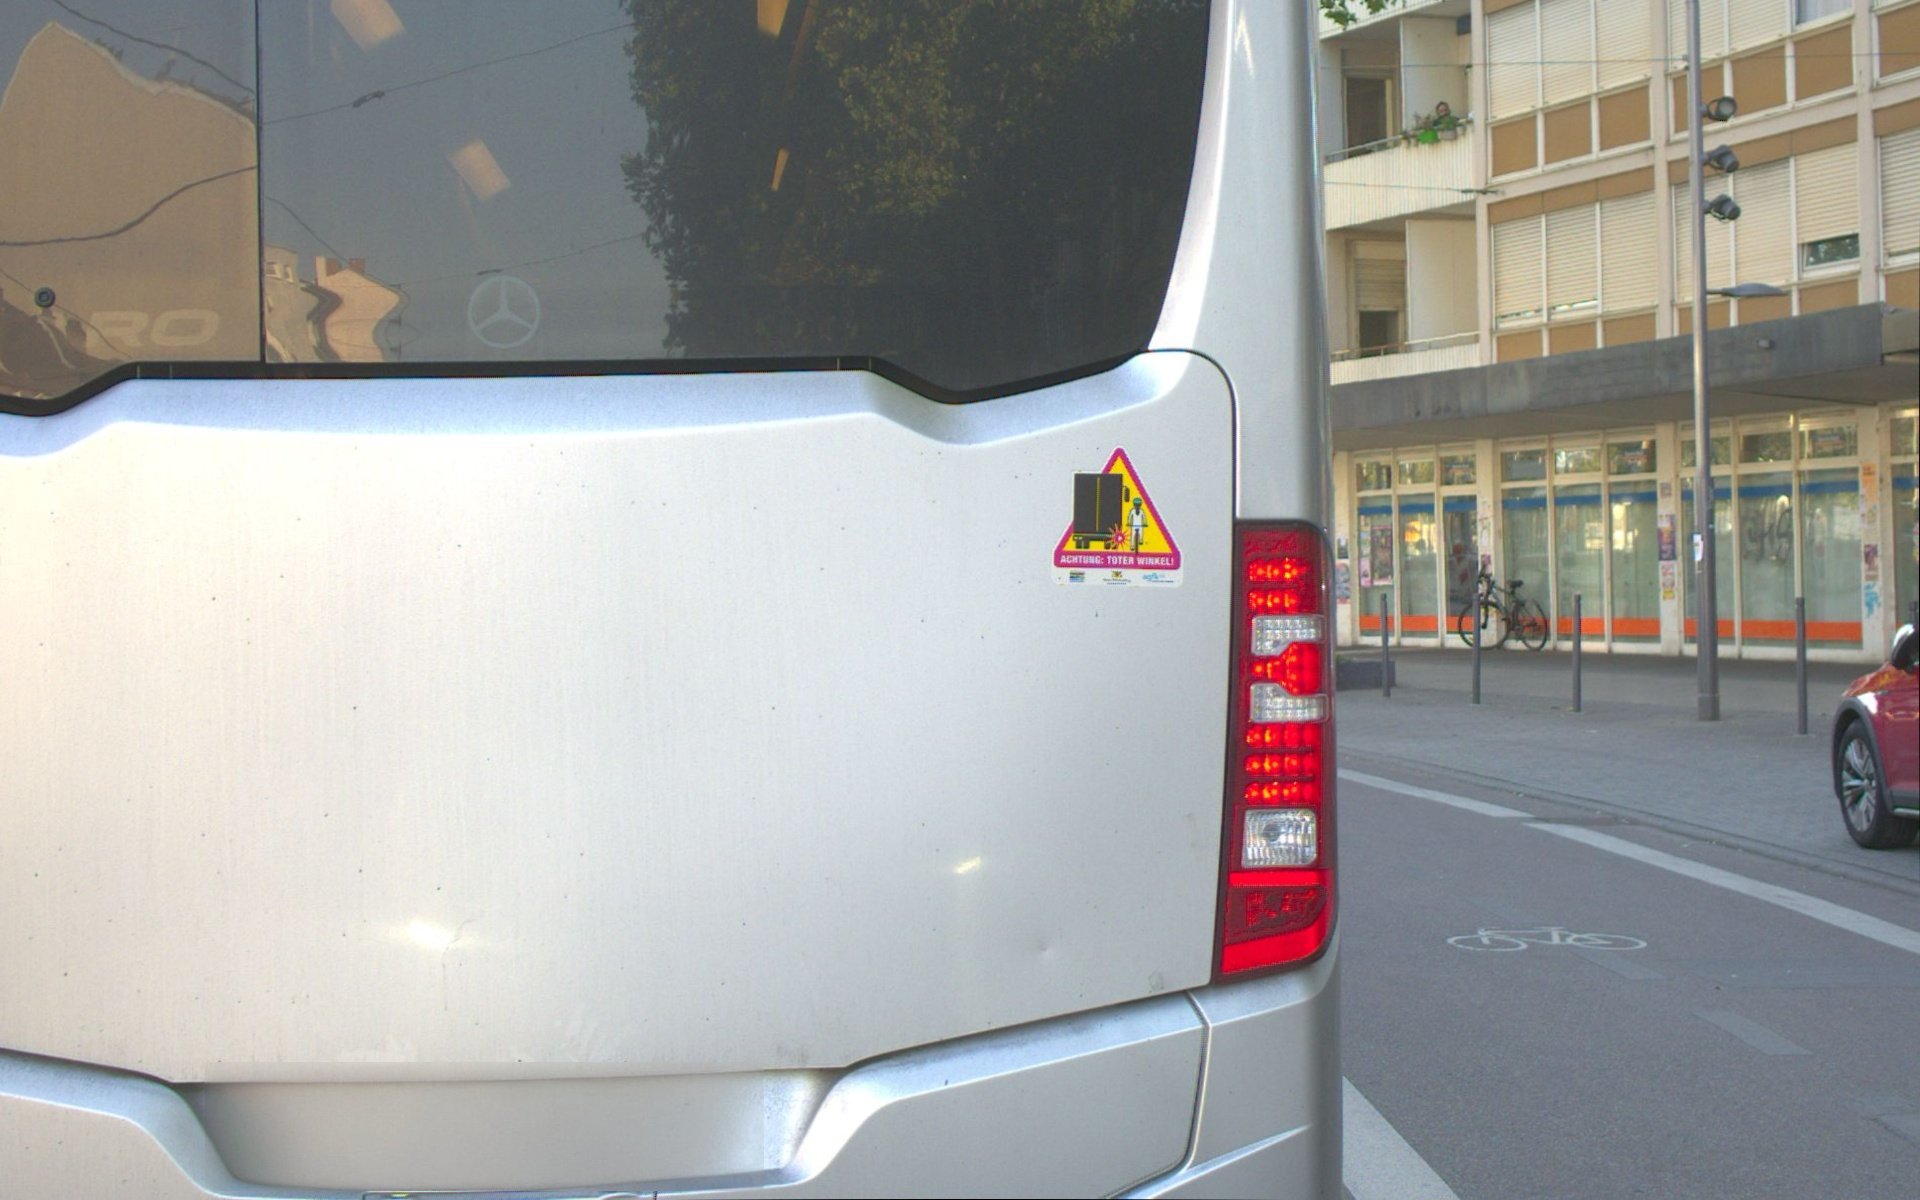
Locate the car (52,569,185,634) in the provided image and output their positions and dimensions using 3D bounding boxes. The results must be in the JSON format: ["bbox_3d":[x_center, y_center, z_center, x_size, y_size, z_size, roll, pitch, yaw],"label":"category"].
[{"bbox_3d":[-19.827,0.024,80.967,1.663,1.390,3.411,-6,4,-39],"label":"car"}]

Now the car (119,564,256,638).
[{"bbox_3d":[-17.465,0.004,77.650,1.663,1.511,3.412,-5,4,-37],"label":"car"}]

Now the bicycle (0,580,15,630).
[{"bbox_3d":[-23.725,0.117,84.927,0.507,1.207,2.093,-1,1,-21],"label":"bicycle"}]

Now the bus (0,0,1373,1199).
[{"bbox_3d":[-0.980,-0.137,9.856,2.657,3.088,10.217,-1,0,-2],"label":"bus"}]

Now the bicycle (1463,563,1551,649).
[{"bbox_3d":[7.221,0.070,45.440,0.437,1.089,1.462,-4,2,-20],"label":"bicycle"}]

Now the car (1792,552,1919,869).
[{"bbox_3d":[5.501,0.504,15.972,1.778,1.491,4.568,-3,1,-5],"label":"car"}]

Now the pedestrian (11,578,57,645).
[{"bbox_3d":[-18.194,0.221,67.553,0.777,1.299,0.594,-1,1,-21],"label":"pedestrian"}]

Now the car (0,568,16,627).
[{"bbox_3d":[-25.699,-0.035,88.025,1.663,1.463,3.411,-5,4,-38],"label":"car"}]
